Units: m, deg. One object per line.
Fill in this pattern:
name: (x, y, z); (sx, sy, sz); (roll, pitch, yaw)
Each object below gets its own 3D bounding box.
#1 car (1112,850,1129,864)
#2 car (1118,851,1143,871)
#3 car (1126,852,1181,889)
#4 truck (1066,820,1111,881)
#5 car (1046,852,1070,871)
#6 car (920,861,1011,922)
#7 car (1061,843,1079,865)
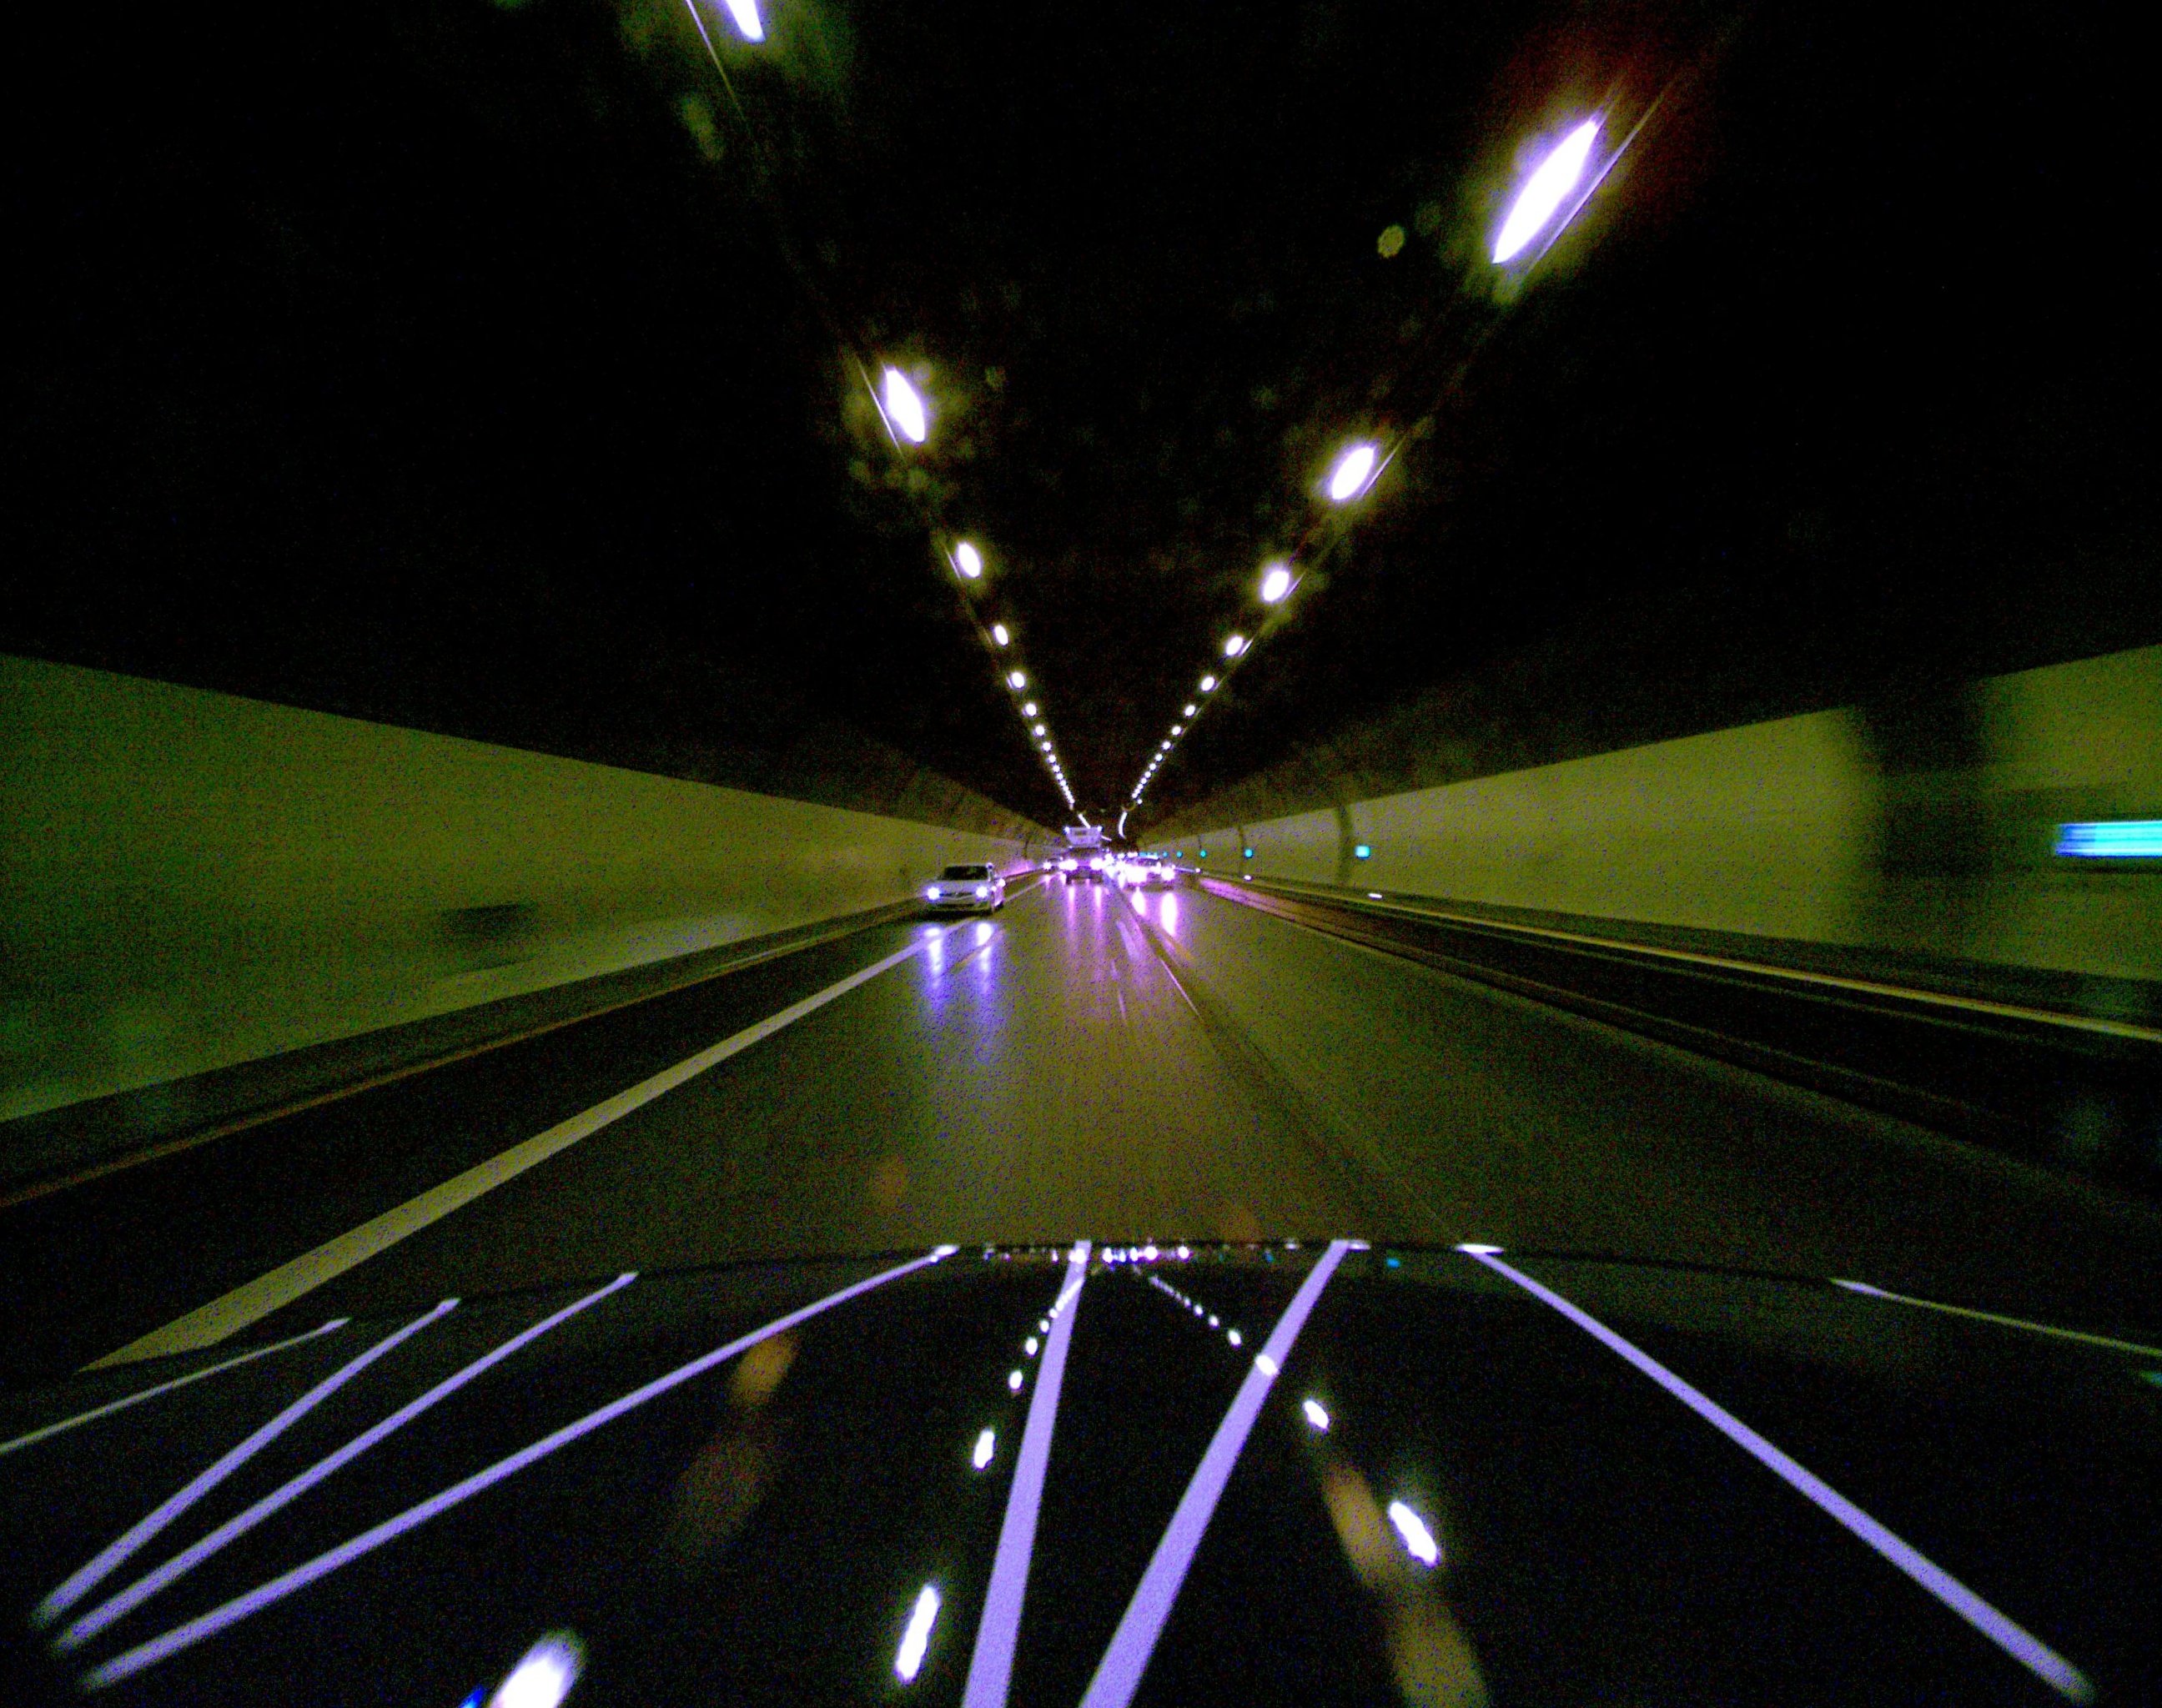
car: (5.307, 0.388, 103.669); (1.958, 1.528, 4.757); (-5, 1, 0)
car: (3.840, 0.535, 59.377); (1.657, 1.395, 3.656); (-2, 1, 0)
car: (3.166, 0.700, 34.078); (1.908, 1.476, 4.943); (-2, 0, 0)
truck: (0.404, -0.221, 44.642); (2.262, 3.238, 7.382); (-3, 1, 0)
car: (-2.071, 0.627, 69.185); (1.958, 1.528, 4.757); (-3, 1, 0)
car: (-3.188, 0.993, 21.791); (1.801, 1.452, 4.035); (-2, 0, 2)
car: (-1.436, -0.091, 99.200); (2.124, 2.629, 6.229); (-3, 1, 0)
